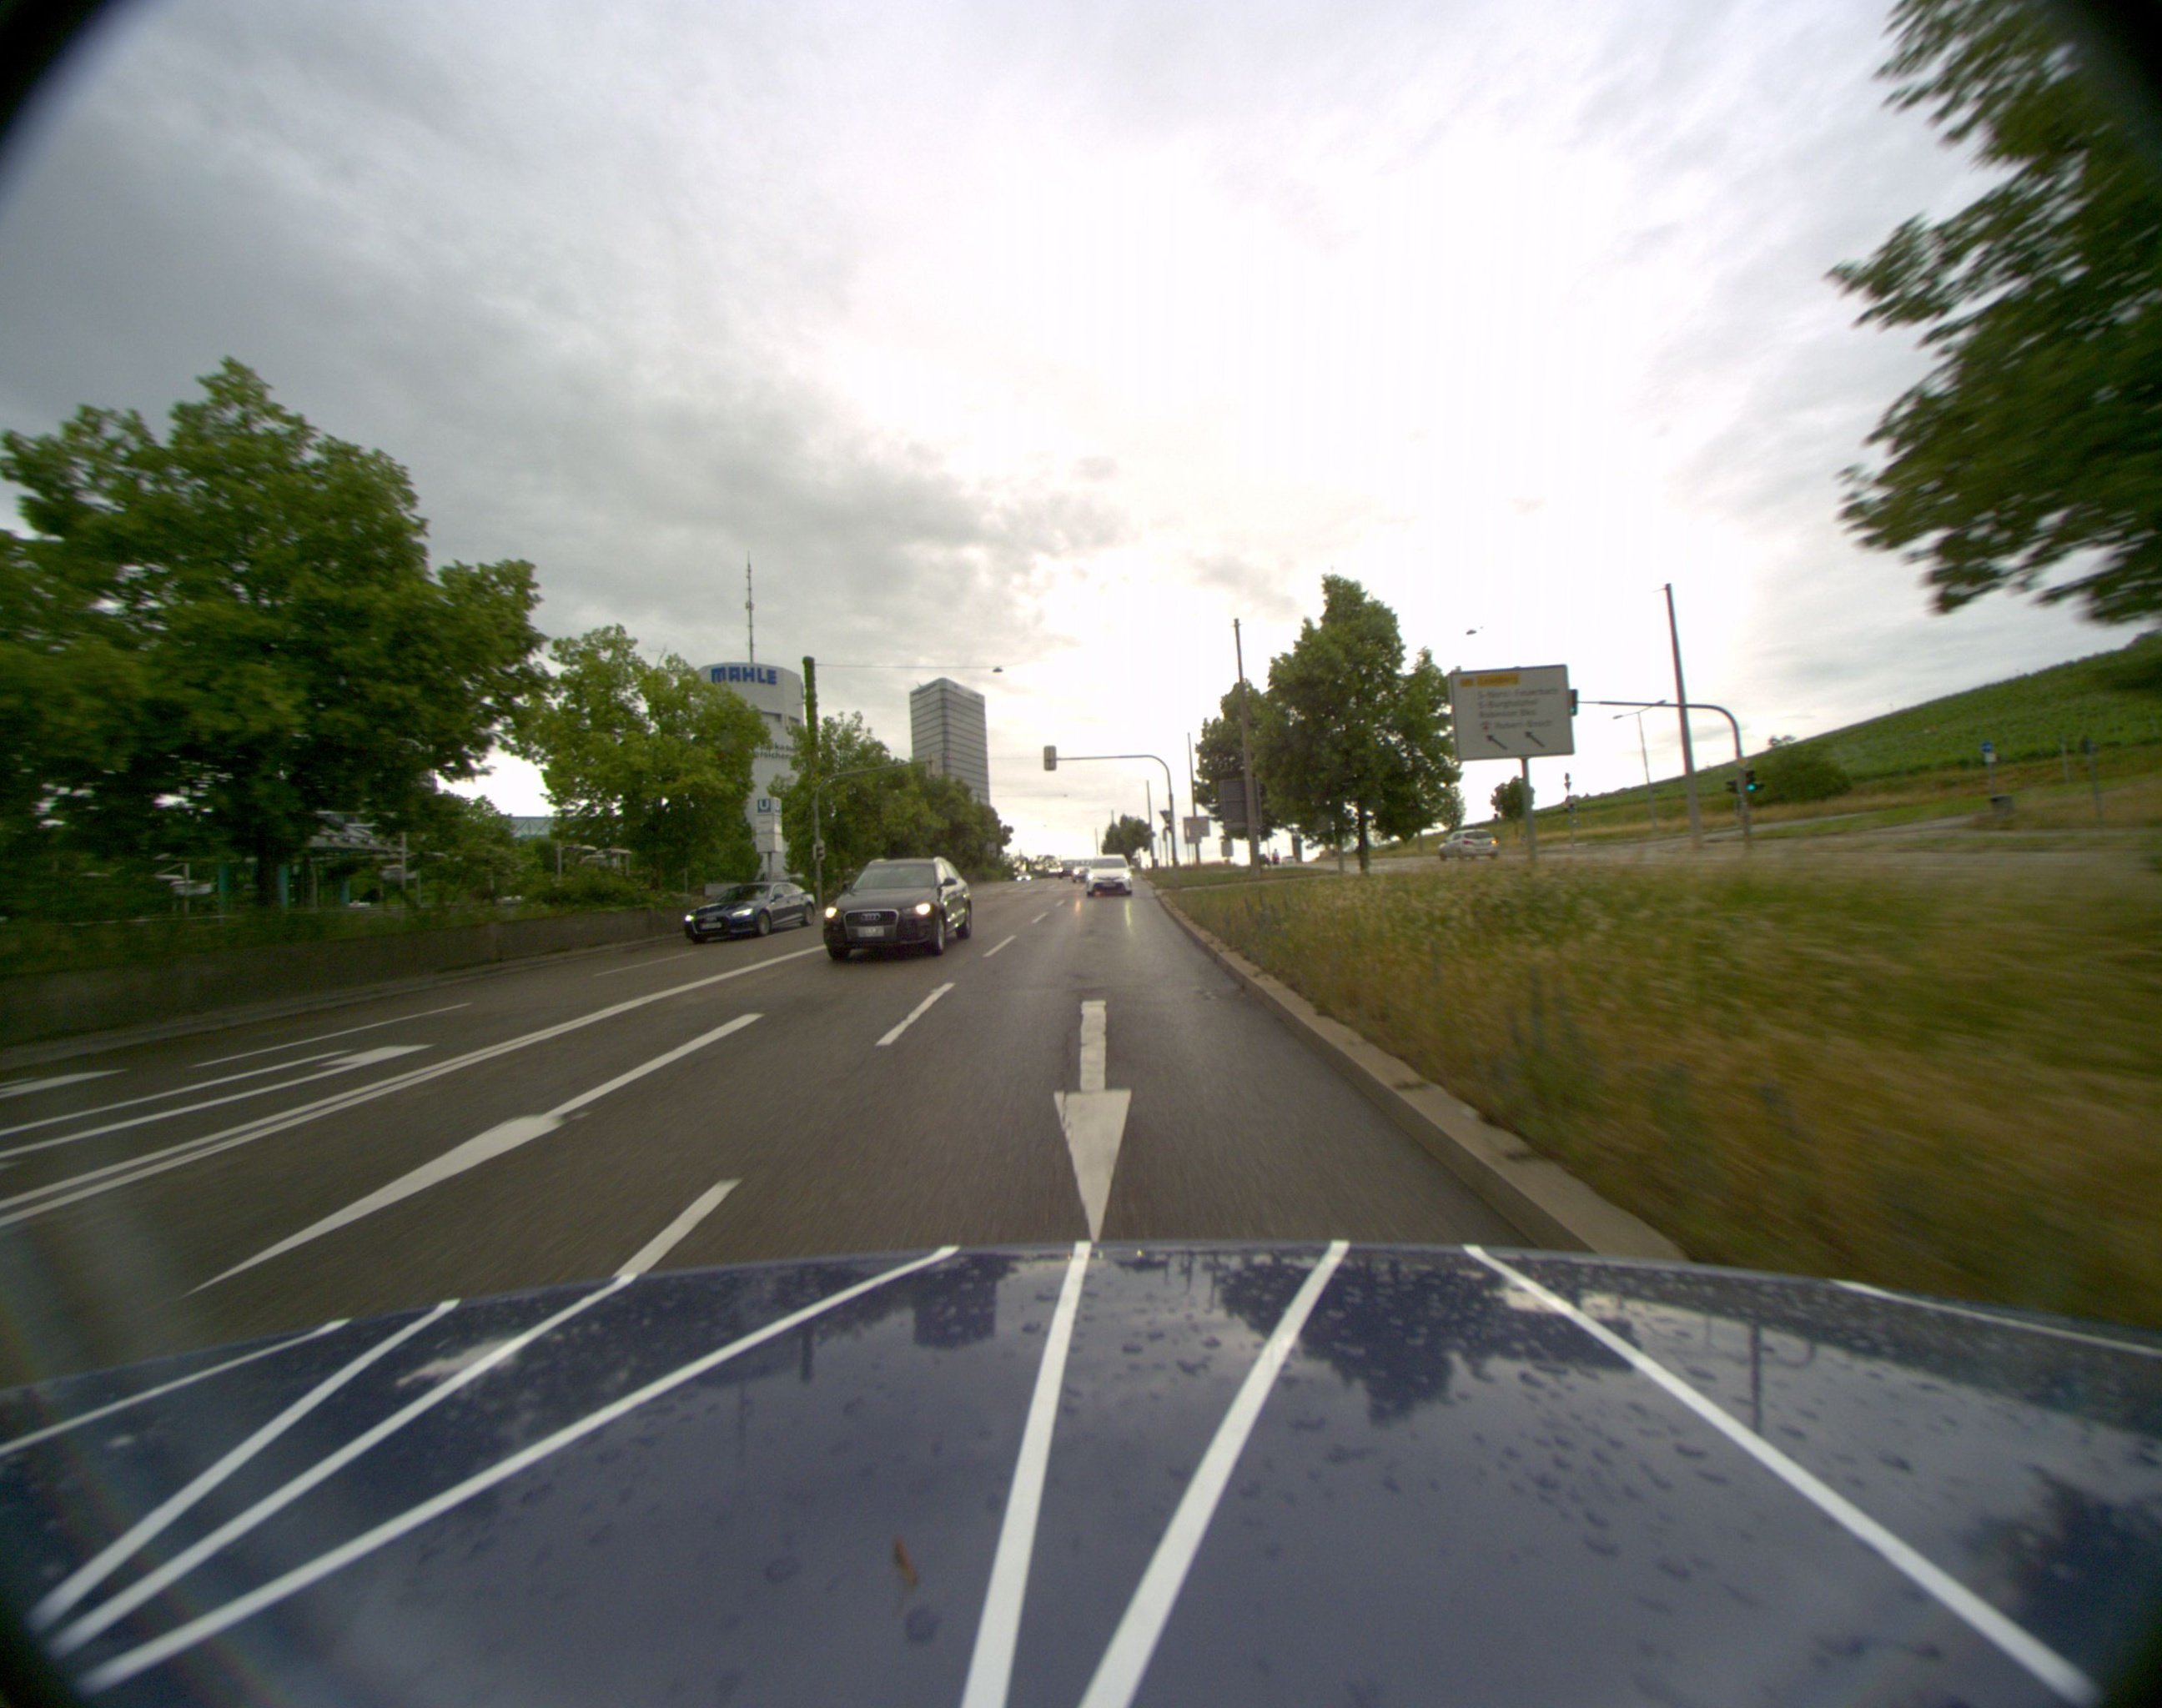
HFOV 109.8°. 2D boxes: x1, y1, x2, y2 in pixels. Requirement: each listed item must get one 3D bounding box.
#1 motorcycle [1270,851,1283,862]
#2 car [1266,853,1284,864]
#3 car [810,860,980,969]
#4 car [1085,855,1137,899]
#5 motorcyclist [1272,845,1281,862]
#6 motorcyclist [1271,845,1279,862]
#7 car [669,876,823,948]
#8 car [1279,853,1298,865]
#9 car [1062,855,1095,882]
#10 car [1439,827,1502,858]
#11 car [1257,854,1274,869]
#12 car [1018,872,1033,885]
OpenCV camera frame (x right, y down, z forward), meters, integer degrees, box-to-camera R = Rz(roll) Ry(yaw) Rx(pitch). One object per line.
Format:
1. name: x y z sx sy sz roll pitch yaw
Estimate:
1. motorcycle: 19.671 0.295 76.480 0.618 1.043 2.503 -3 -1 2
2. car: 30.024 0.649 117.737 1.771 1.638 4.178 -3 0 3
3. car: -3.053 0.921 13.375 1.729 1.524 4.127 -3 0 3
4. car: 1.242 0.857 29.521 1.826 1.574 4.299 0 0 4
5. motorcyclist: 19.625 -0.051 76.229 0.613 1.572 0.582 -3 -1 2
6. motorcyclist: 19.658 -0.045 76.893 0.583 1.586 0.643 -3 -1 2
7. car: -8.640 1.430 20.092 1.876 1.417 4.348 -3 1 3
8. car: 27.397 0.633 100.297 1.655 1.454 3.776 -3 -1 3
9. car: -0.112 0.871 46.006 1.729 1.463 4.265 -3 -1 2
10. car: 19.255 -0.556 37.724 1.541 1.381 3.930 -3 0 8
11. car: 21.202 0.862 87.405 1.540 1.495 3.666 -3 0 18
12. car: -7.274 3.203 99.509 1.636 1.466 3.677 -3 -3 -7
